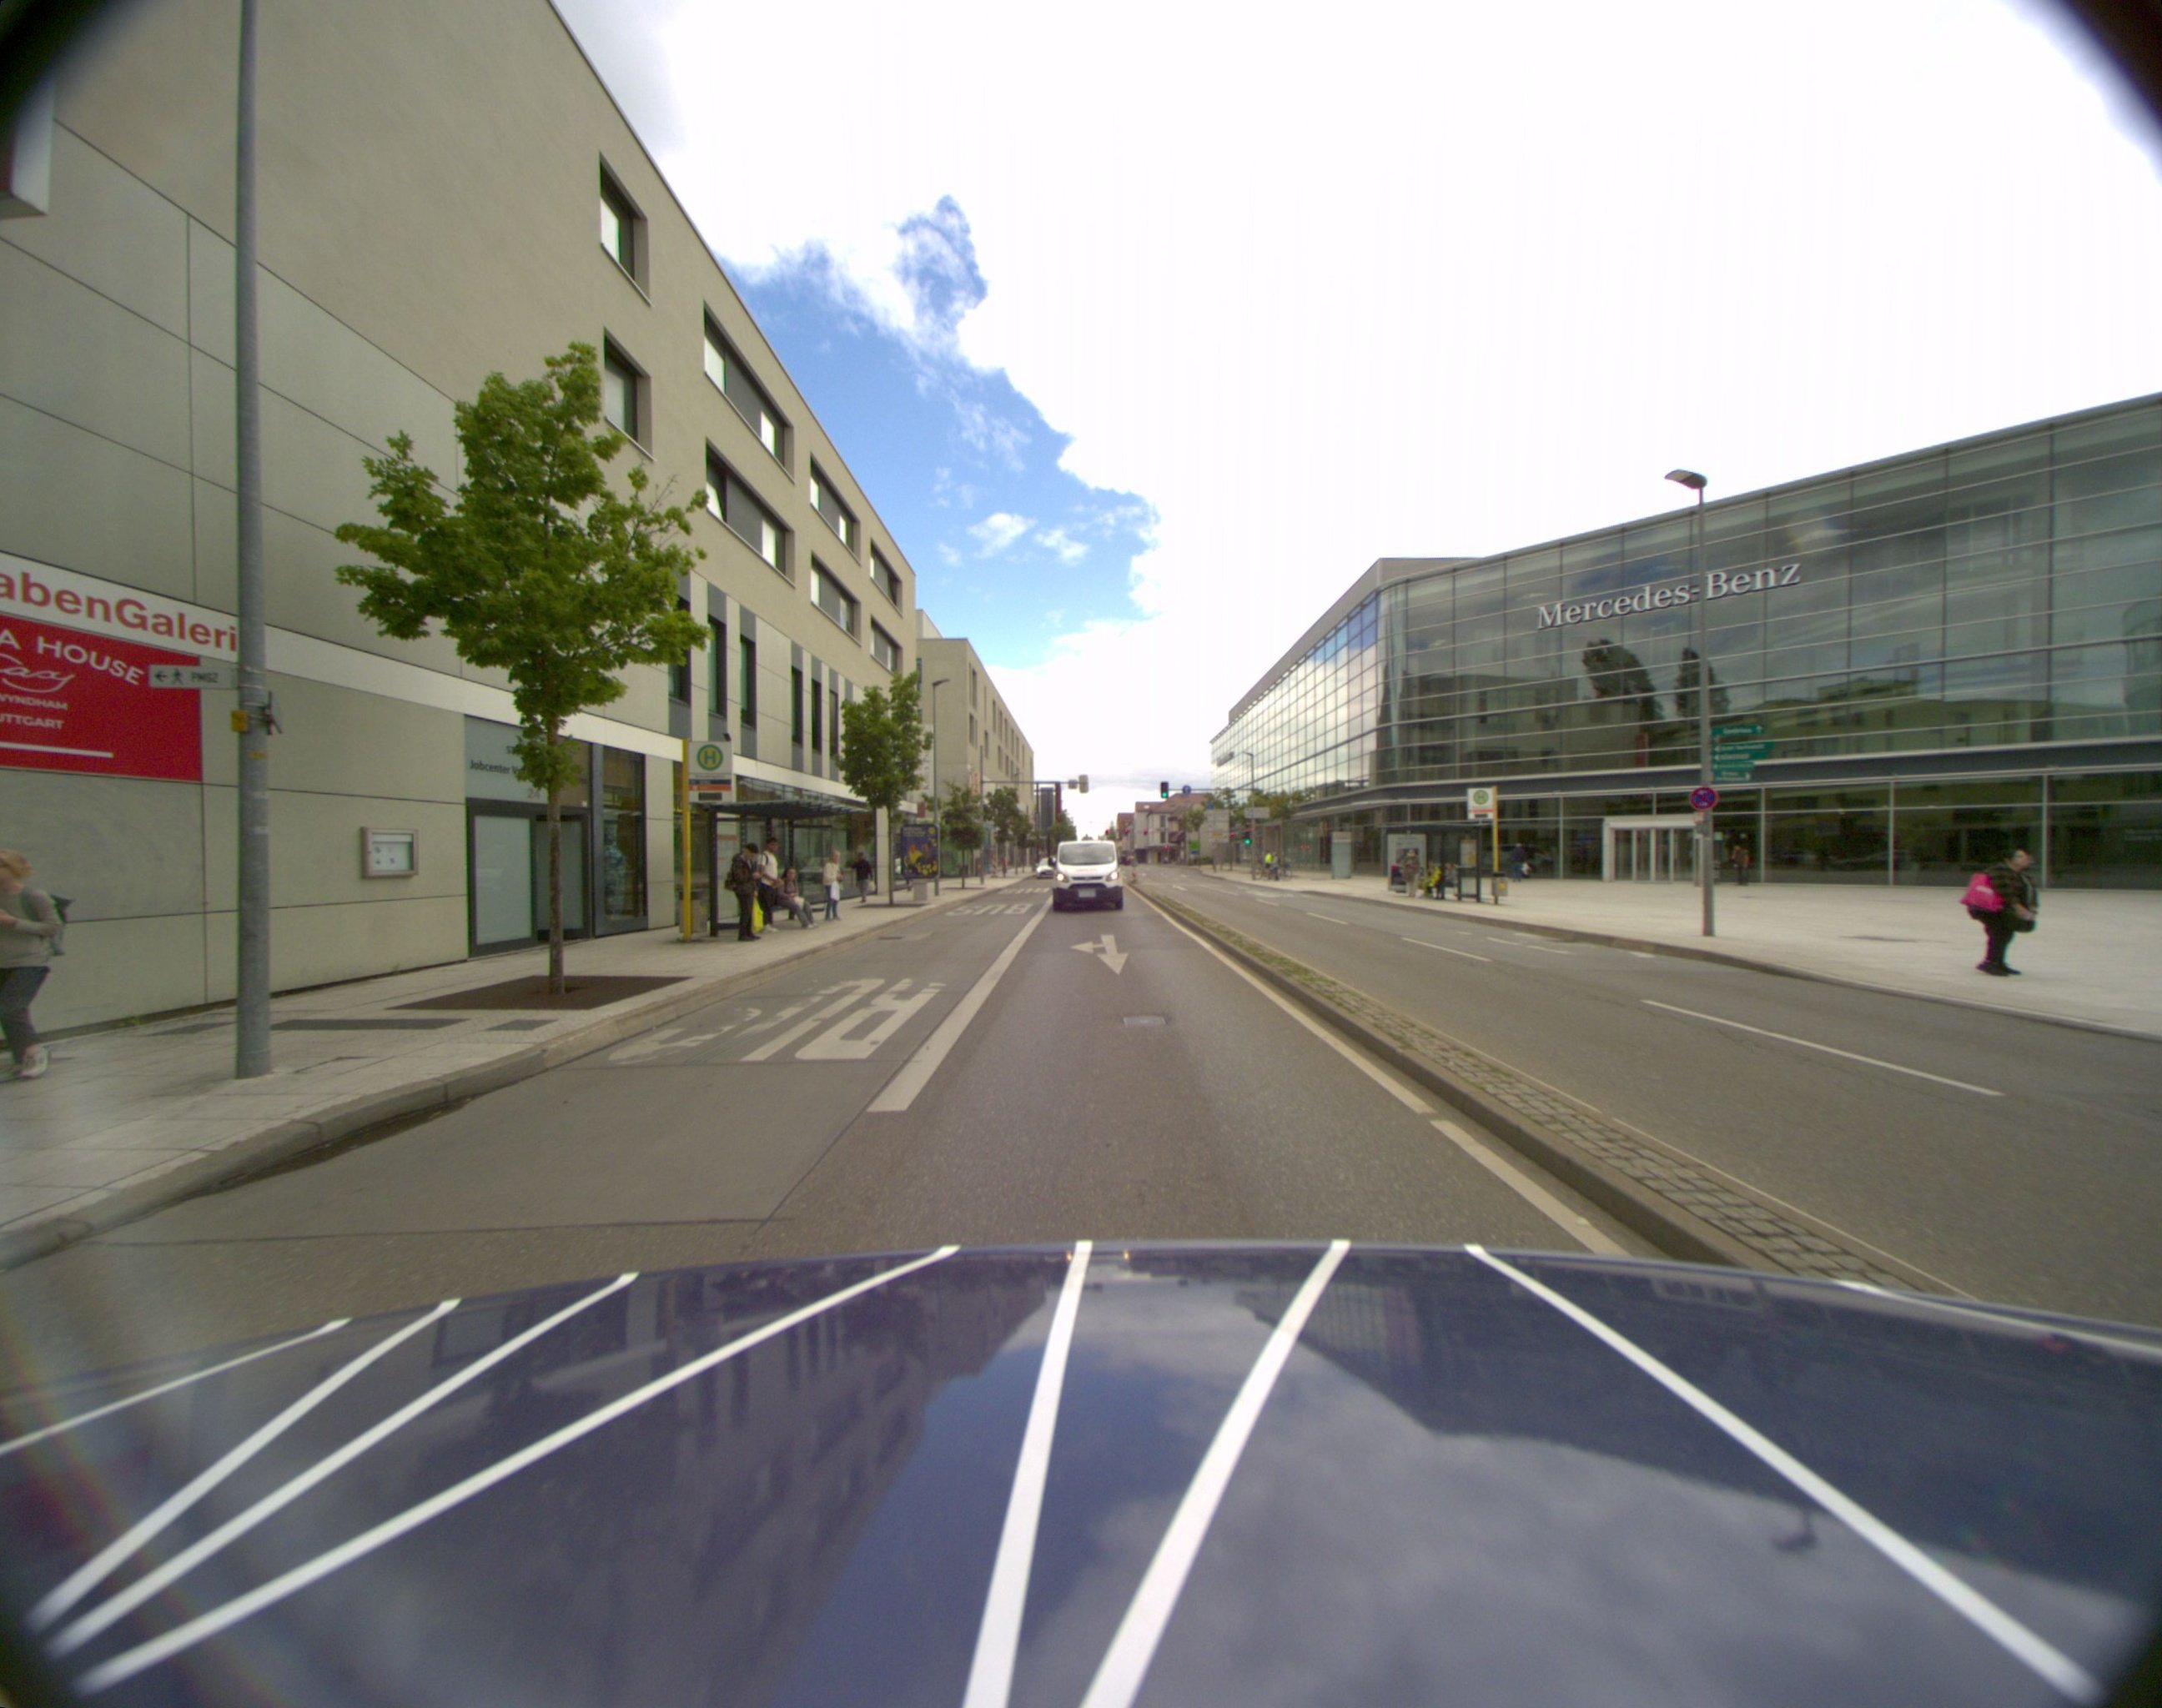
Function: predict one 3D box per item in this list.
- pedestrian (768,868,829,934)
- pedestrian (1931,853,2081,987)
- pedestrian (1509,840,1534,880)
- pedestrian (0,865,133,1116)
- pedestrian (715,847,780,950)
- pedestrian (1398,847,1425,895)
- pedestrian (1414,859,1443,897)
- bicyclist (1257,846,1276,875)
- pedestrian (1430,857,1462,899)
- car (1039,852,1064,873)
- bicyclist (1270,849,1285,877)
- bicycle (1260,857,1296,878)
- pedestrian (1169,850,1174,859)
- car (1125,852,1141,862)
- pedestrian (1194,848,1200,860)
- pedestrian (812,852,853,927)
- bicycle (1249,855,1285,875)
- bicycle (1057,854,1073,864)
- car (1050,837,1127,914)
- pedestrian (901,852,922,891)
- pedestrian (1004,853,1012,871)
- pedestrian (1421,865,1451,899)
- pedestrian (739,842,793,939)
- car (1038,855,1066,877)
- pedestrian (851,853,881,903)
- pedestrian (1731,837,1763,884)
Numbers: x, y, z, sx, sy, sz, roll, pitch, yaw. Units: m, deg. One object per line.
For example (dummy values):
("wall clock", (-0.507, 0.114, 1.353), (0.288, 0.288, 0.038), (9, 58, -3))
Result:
("pedestrian", (-5.632, 0.933, 15.199), (0.945, 1.252, 0.732), (1, 1, -2))
("pedestrian", (11.329, 0.782, 9.341), (0.832, 1.558, 0.813), (-2, 1, 6))
("pedestrian", (21.396, 0.289, 36.891), (0.904, 1.934, 0.748), (-2, 2, -38))
("pedestrian", (-7.290, 0.872, 5.072), (0.871, 1.574, 0.804), (0, 1, 0))
("pedestrian", (-5.611, 0.723, 12.804), (0.722, 1.674, 0.733), (1, 1, 6))
("pedestrian", (11.406, 0.566, 26.225), (0.688, 1.622, 0.574), (0, 1, -40))
("pedestrian", (11.691, 0.794, 25.598), (0.686, 1.246, 0.576), (0, 1, -1))
("bicyclist", (11.563, 0.407, 47.390), (0.772, 1.790, 0.749), (-2, 1, 45))
("pedestrian", (11.674, 0.761, 24.320), (0.686, 1.312, 0.576), (1, 1, -1))
("car", (-2.338, 0.686, 61.573), (1.741, 1.533, 4.790), (-2, 1, 1))
("bicyclist", (11.487, 0.524, 44.465), (0.783, 1.639, 0.639), (-2, 1, 16))
("bicycle", (11.516, 0.791, 44.465), (2.002, 1.124, 0.639), (-2, 1, 16))
("pedestrian", (15.597, 0.074, 130.468), (0.555, 1.507, 0.582), (0, 1, -32))
("car", (8.121, 0.455, 118.557), (1.803, 1.458, 3.998), (0, 0, -5))
("pedestrian", (15.303, 0.007, 100.188), (0.702, 1.614, 0.693), (0, 1, 1))
("pedestrian", (-5.402, 0.756, 16.549), (0.580, 1.581, 0.733), (1, 1, 6))
("bicycle", (11.581, 0.707, 47.399), (2.025, 1.199, 0.749), (-2, 1, 45))
("bicycle", (-1.804, 0.581, 86.356), (1.745, 1.093, 0.561), (2, 0, -7))
("car", (0.230, 0.556, 22.841), (2.000, 1.976, 5.000), (-2, 1, 1))
("pedestrian", (-7.364, 0.738, 32.956), (0.746, 1.659, 0.614), (0, 1, 1))
("pedestrian", (-6.239, 0.673, 64.935), (0.590, 1.558, 0.732), (1, 1, 1))
("pedestrian", (11.682, 0.922, 24.994), (0.686, 1.069, 0.576), (2, 1, -1))
("pedestrian", (-5.850, 0.652, 14.160), (0.580, 1.759, 0.856), (1, 1, 6))
("car", (-2.073, 0.827, 55.198), (1.787, 1.417, 4.514), (-1, 1, 0))
("pedestrian", (-6.919, 0.765, 24.440), (0.742, 1.599, 0.714), (0, 1, 1))
("pedestrian", (27.769, 0.256, 31.694), (0.687, 1.934, 0.749), (-2, 1, -12))
